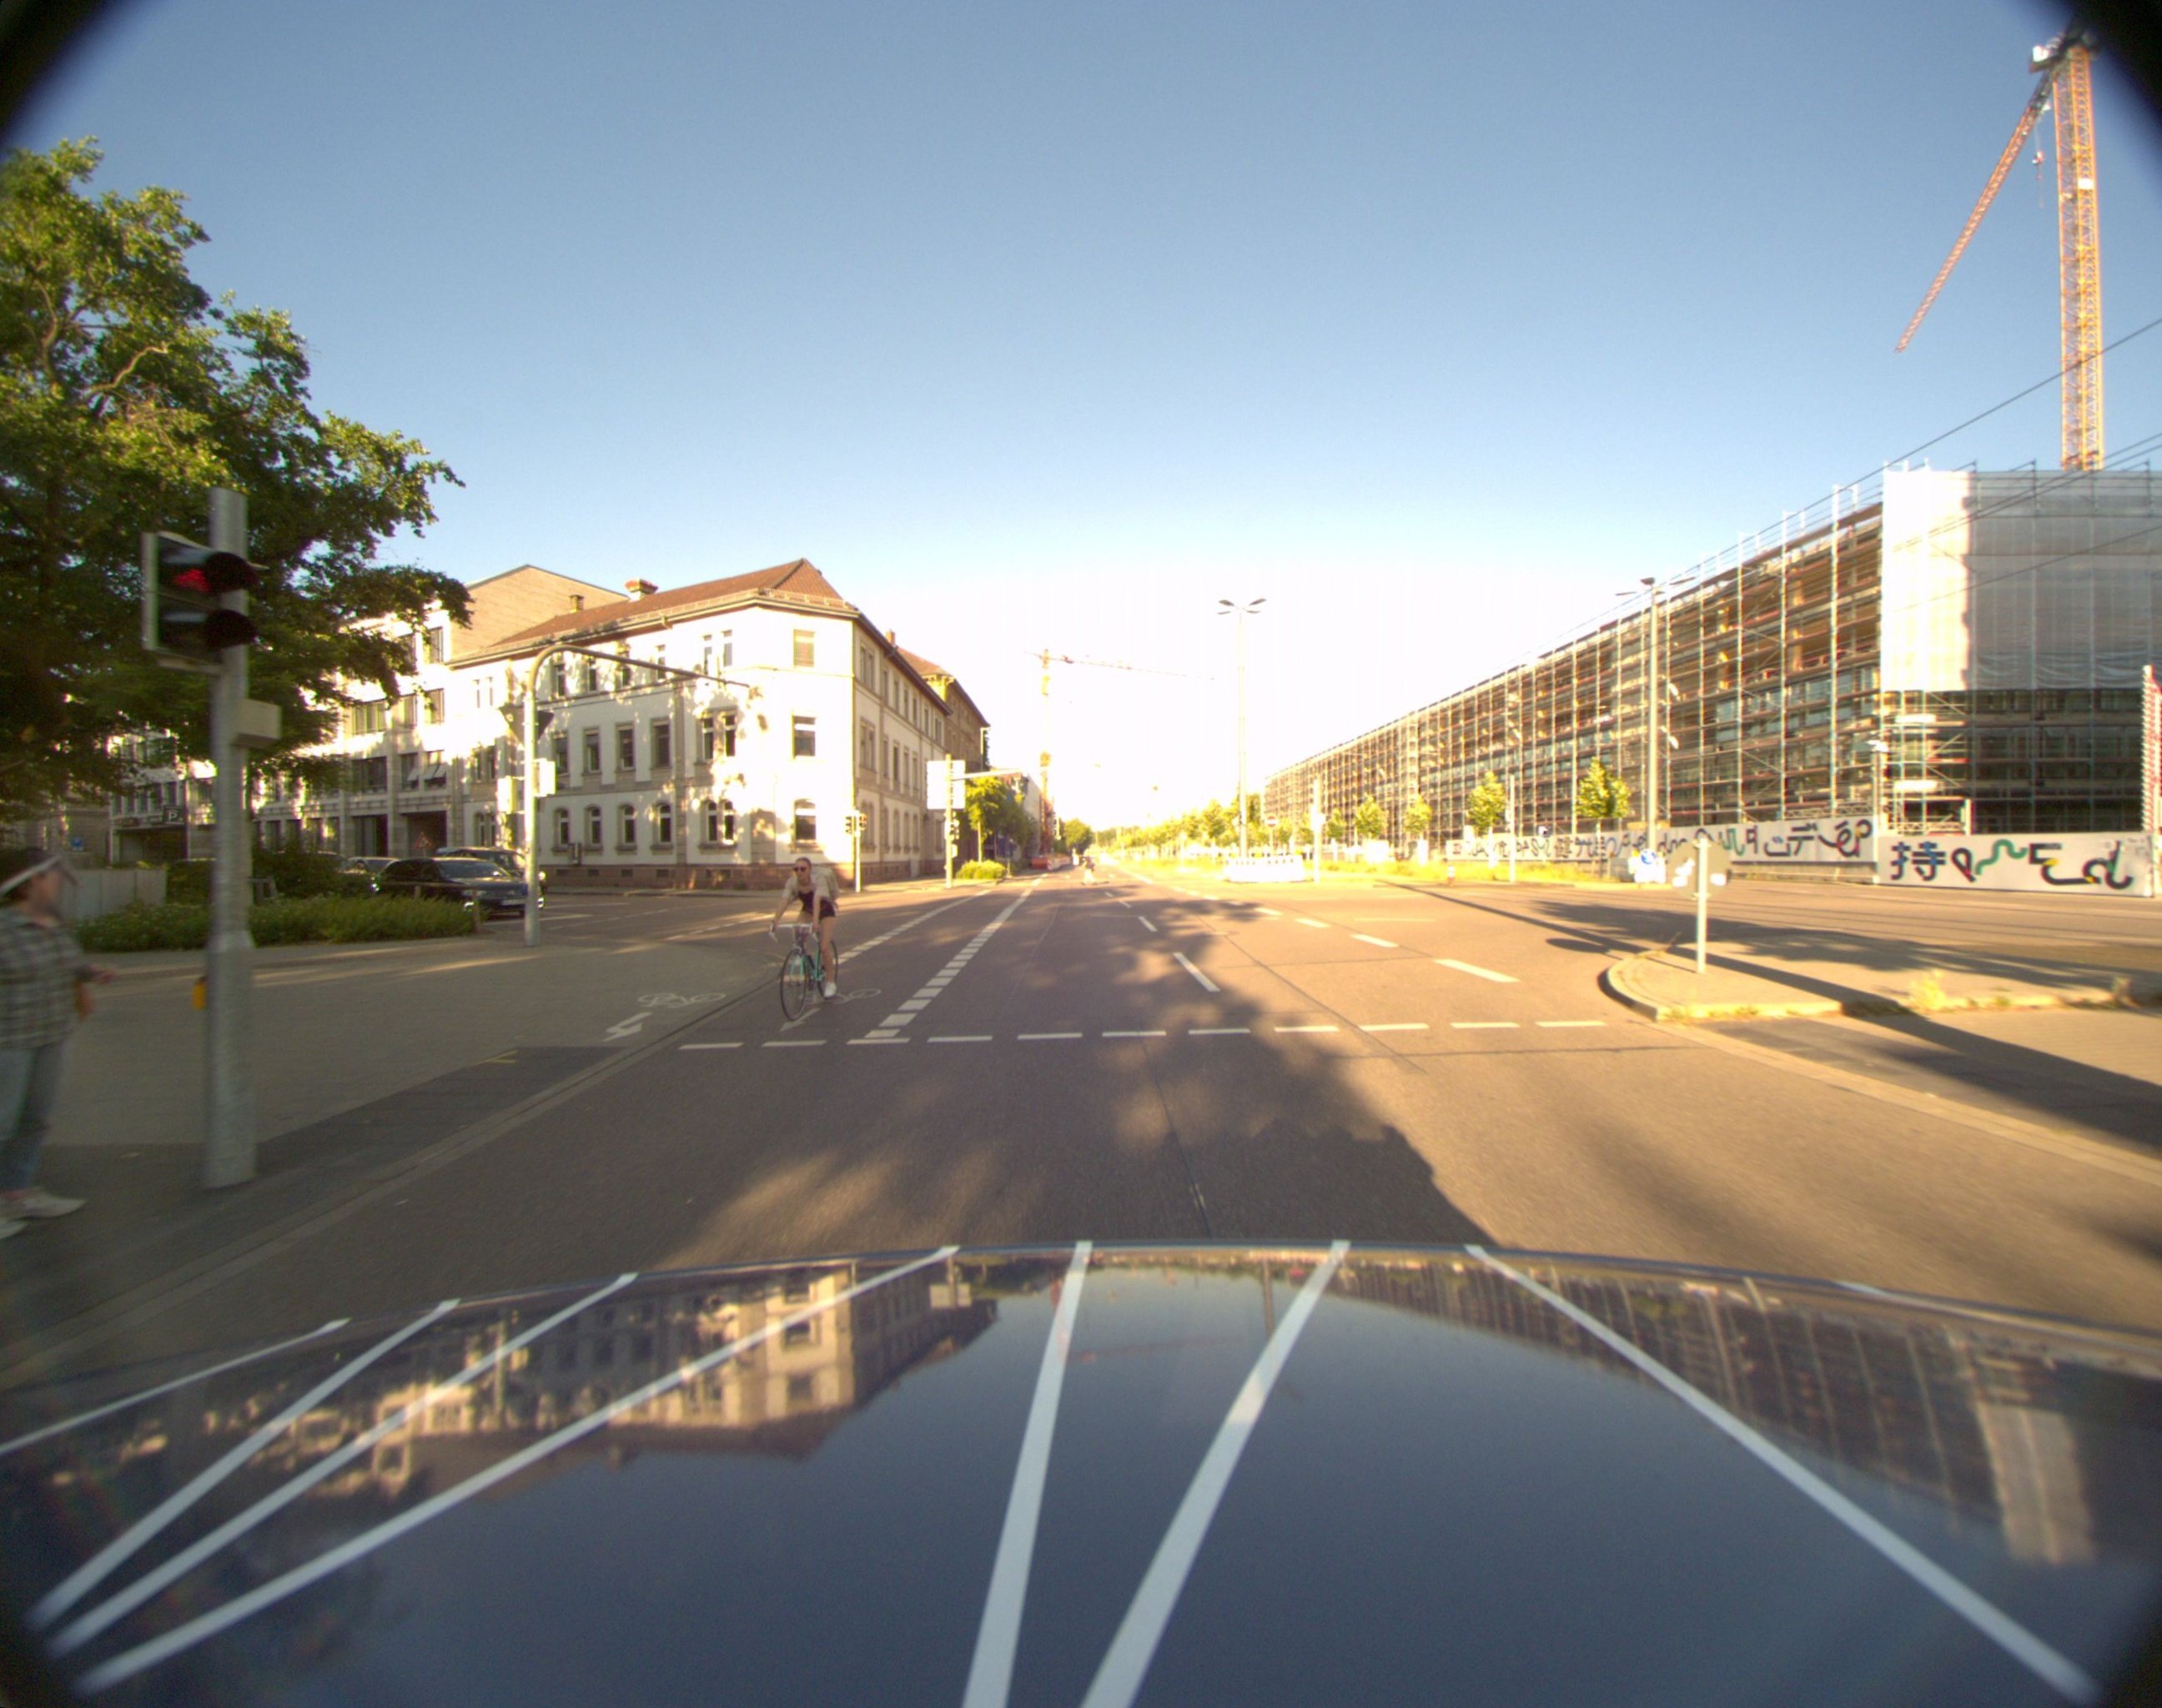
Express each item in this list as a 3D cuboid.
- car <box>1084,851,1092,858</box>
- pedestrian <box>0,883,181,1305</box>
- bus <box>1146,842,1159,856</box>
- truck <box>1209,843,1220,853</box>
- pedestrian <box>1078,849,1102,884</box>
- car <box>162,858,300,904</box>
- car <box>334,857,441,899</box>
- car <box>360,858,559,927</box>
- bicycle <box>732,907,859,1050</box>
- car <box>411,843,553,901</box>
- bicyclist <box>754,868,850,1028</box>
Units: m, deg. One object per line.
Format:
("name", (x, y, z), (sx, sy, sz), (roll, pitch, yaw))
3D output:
("car", (1.753, 0.221, 190.716), (1.999, 1.696, 3.999), (-1, 1, -1))
("pedestrian", (-4.675, 0.959, 3.229), (0.769, 1.627, 0.769), (1, 1, -9))
("bus", (16.973, -1.242, 181.217), (2.723, 3.203, 8.657), (0, 0, 2))
("truck", (34.021, -1.591, 193.743), (2.143, 2.559, 4.740), (0, 0, 2))
("pedestrian", (0.426, 0.591, 35.980), (0.925, 1.639, 0.766), (0, 1, 17))
("car", (-28.320, 0.861, 25.316), (4.224, 1.374, 1.906), (0, 1, 25))
("car", (-25.991, 0.886, 28.480), (3.520, 1.502, 1.742), (0, -1, 25))
("car", (-15.162, 0.858, 18.525), (4.590, 1.465, 1.906), (0, 1, 25))
("bicycle", (-2.827, 1.180, 7.719), (0.522, 1.091, 1.842), (-3, 1, 0))
("car", (-19.854, 0.595, 25.181), (4.237, 1.794, 1.953), (0, -1, 25))
("bicyclist", (-2.795, 0.898, 7.707), (0.554, 1.482, 1.081), (0, 0, 0))
